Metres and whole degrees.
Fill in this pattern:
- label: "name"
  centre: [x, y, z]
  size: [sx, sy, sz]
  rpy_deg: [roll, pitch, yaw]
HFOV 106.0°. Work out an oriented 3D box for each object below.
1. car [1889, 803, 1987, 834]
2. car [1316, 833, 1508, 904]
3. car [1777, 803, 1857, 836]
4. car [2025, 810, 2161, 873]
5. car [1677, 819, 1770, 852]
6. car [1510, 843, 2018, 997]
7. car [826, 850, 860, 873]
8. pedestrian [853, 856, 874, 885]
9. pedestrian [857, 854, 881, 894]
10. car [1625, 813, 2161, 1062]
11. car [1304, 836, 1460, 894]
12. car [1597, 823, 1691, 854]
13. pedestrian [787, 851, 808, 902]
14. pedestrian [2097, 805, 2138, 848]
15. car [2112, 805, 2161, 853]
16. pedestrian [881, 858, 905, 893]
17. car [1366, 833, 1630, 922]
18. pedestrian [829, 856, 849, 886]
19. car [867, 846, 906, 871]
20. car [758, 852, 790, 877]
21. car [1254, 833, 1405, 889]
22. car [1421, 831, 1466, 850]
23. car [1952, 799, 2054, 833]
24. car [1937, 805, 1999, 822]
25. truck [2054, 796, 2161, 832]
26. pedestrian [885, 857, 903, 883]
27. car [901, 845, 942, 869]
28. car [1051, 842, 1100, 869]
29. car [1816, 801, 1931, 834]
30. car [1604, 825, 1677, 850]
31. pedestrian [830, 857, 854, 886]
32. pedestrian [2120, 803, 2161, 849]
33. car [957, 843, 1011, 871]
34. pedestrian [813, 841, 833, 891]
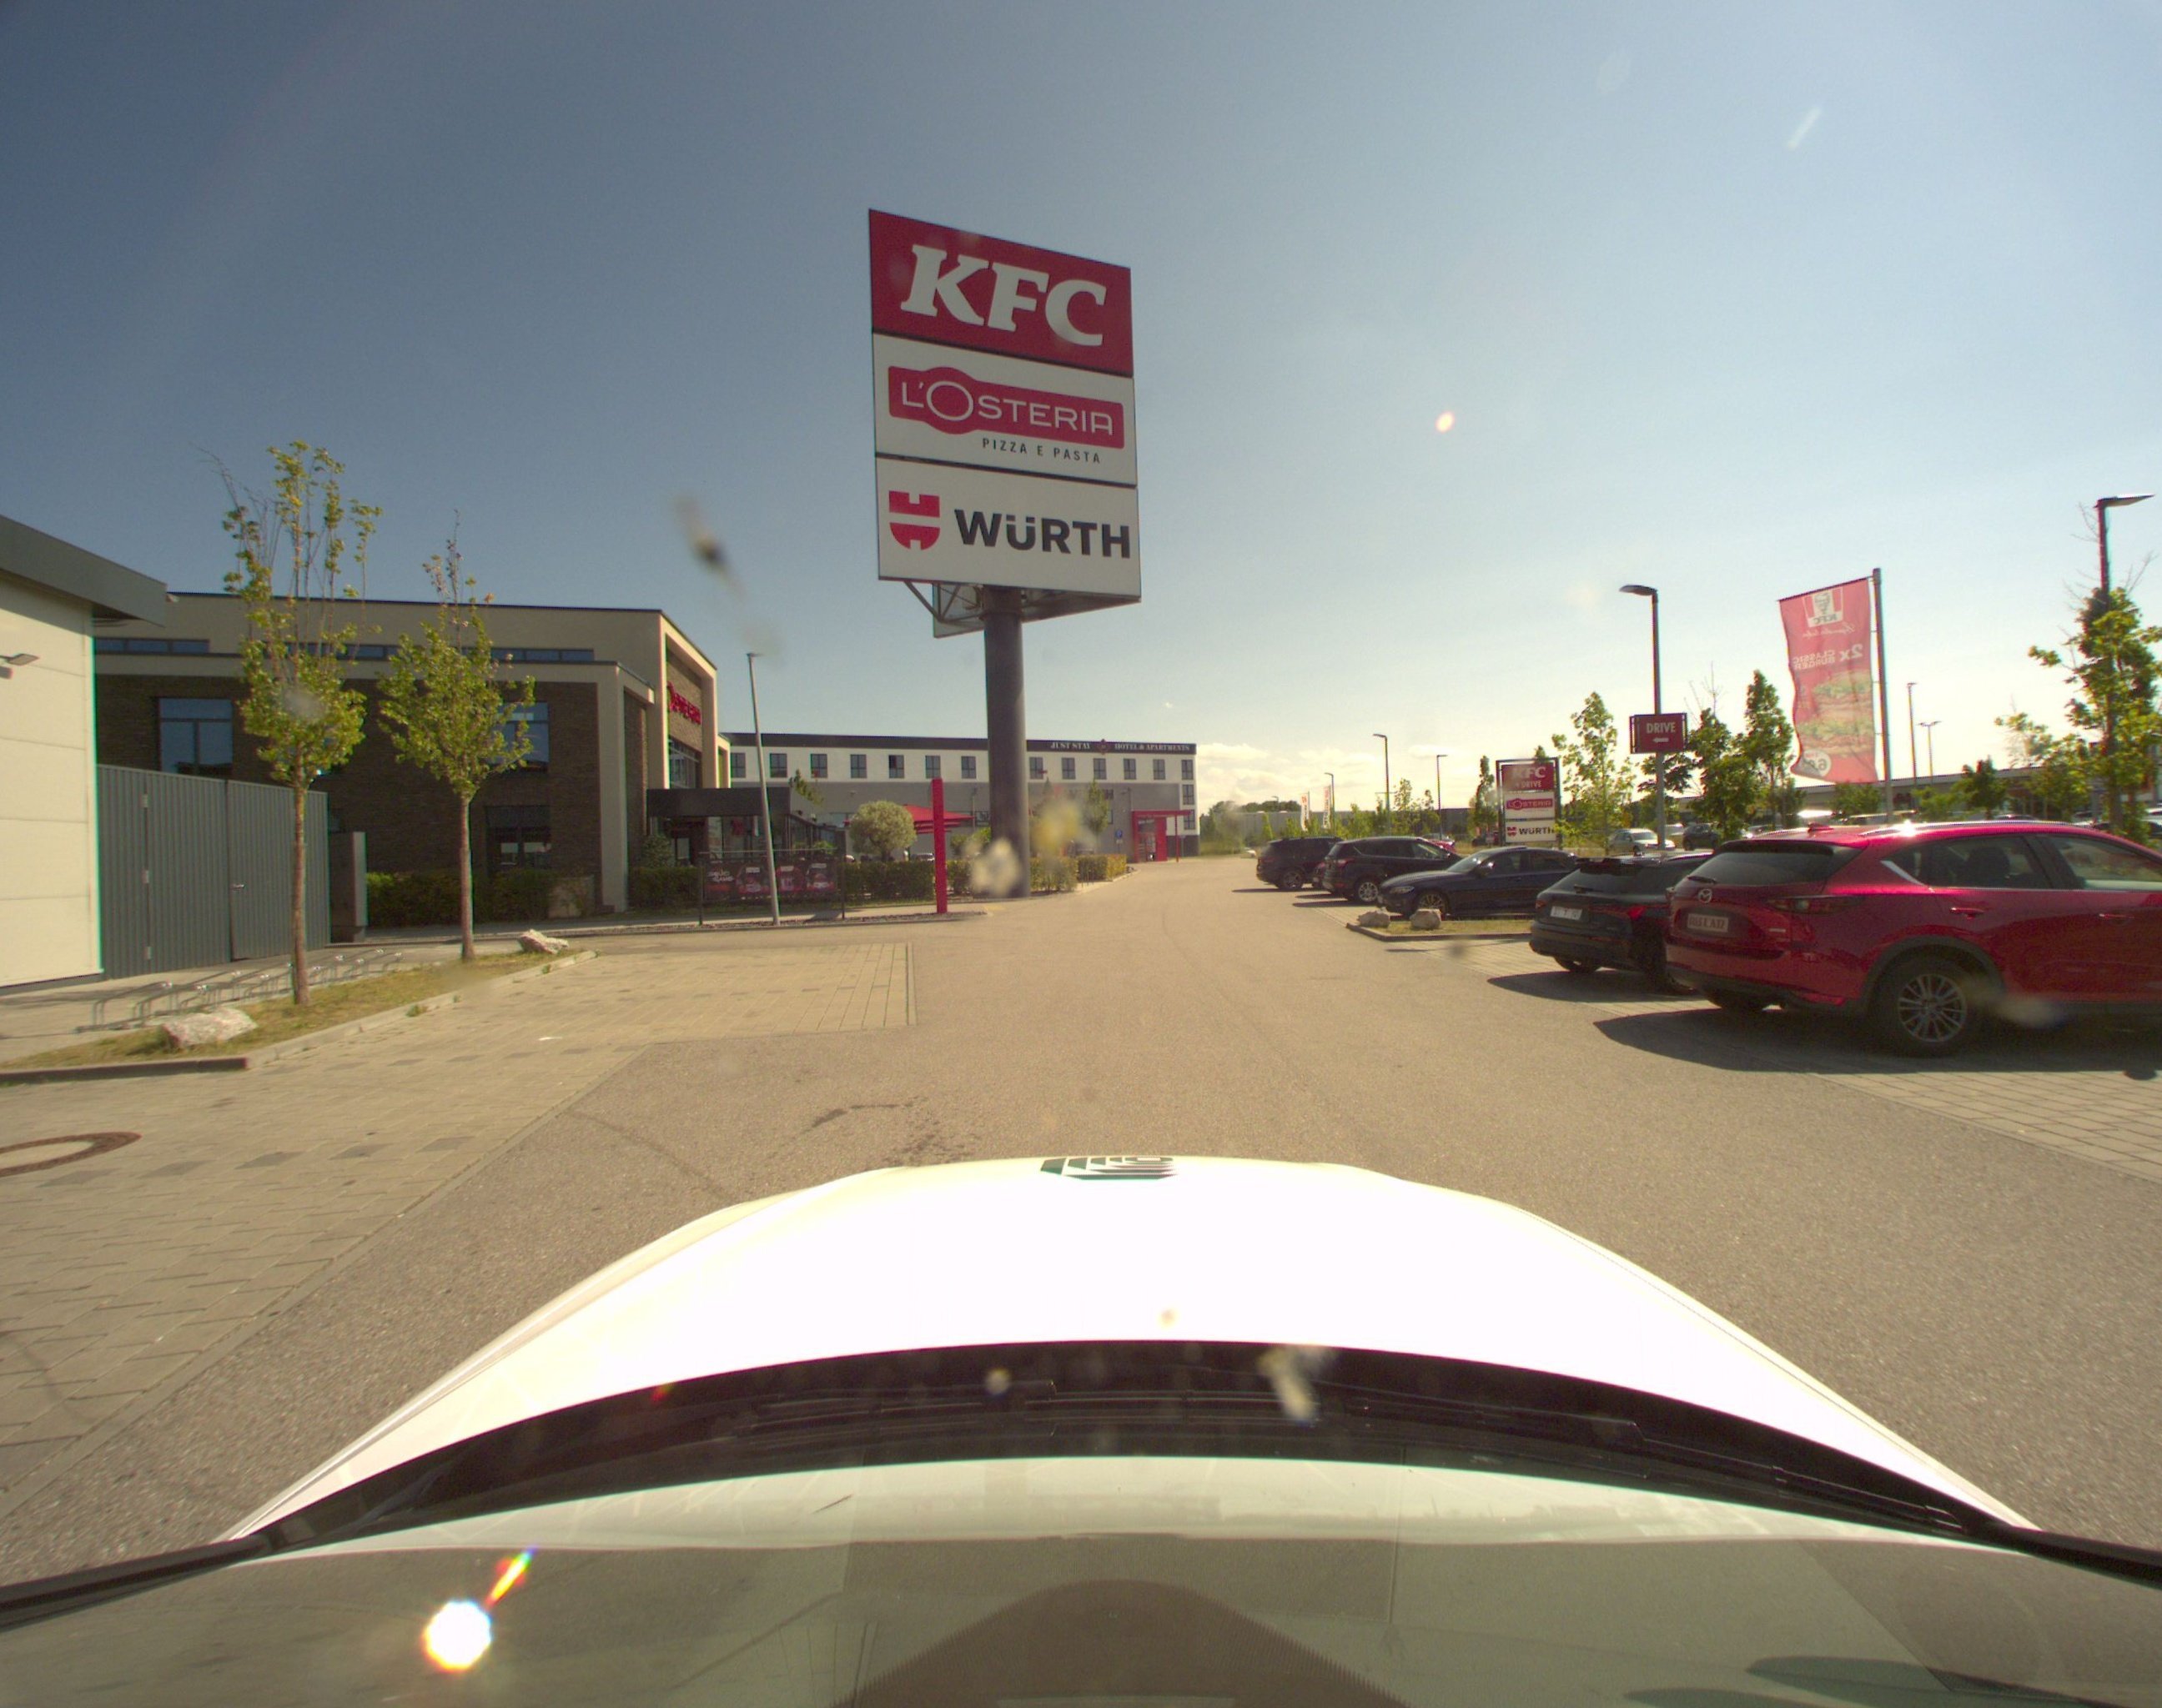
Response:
- label: "car"
  centre: [61.055, -2.518, 58.070]
  size: [5.151, 2.013, 1.998]
  rpy_deg: [-2, 1, -3]
- label: "car"
  centre: [8.497, 0.363, 21.277]
  size: [4.295, 1.702, 1.899]
  rpy_deg: [-1, 0, 7]
- label: "car"
  centre: [61.477, -2.868, 68.053]
  size: [5.049, 2.455, 1.998]
  rpy_deg: [-2, 1, -3]
- label: "car"
  centre: [27.298, -0.345, 20.382]
  size: [1.987, 1.526, 4.657]
  rpy_deg: [-2, 1, 0]
- label: "car"
  centre: [34.948, -1.012, 44.470]
  size: [1.862, 1.664, 4.614]
  rpy_deg: [-2, 1, 8]
- label: "car"
  centre: [7.237, 0.633, 8.917]
  size: [4.183, 1.410, 1.772]
  rpy_deg: [-1, 0, -3]
- label: "car"
  centre: [-16.505, 0.485, 56.324]
  size: [1.739, 1.487, 3.920]
  rpy_deg: [-2, 1, -24]
- label: "pedestrian"
  centre: [-9.326, 0.701, 34.953]
  size: [0.706, 1.198, 0.615]
  rpy_deg: [-2, 1, -5]
- label: "pedestrian"
  centre: [-7.420, 0.688, 28.504]
  size: [0.653, 1.366, 0.476]
  rpy_deg: [-2, 1, -38]
- label: "car"
  centre: [7.103, 0.539, 6.521]
  size: [4.204, 1.638, 1.950]
  rpy_deg: [-1, 0, -1]
- label: "car"
  centre: [8.975, 0.294, 24.542]
  size: [4.051, 1.608, 1.897]
  rpy_deg: [-1, 1, 3]
- label: "car"
  centre: [30.986, -0.839, 45.003]
  size: [1.986, 1.526, 4.658]
  rpy_deg: [-2, 1, 1]
- label: "pedestrian"
  centre: [-8.716, 0.682, 25.060]
  size: [0.525, 1.505, 0.566]
  rpy_deg: [-2, 1, -15]
- label: "pedestrian"
  centre: [37.935, -0.995, 29.813]
  size: [0.619, 1.556, 0.669]
  rpy_deg: [-2, 1, 13]
- label: "car"
  centre: [44.662, -1.061, 32.222]
  size: [4.354, 1.845, 2.011]
  rpy_deg: [-2, 1, 22]
- label: "pedestrian"
  centre: [-6.637, 0.748, 28.720]
  size: [0.653, 1.185, 0.476]
  rpy_deg: [-2, 1, -38]
- label: "car"
  centre: [8.323, 0.451, 16.633]
  size: [4.413, 1.638, 1.899]
  rpy_deg: [-1, 0, 6]
- label: "pedestrian"
  centre: [-10.034, 0.712, 33.792]
  size: [0.710, 1.198, 0.663]
  rpy_deg: [-2, 1, -20]
- label: "car"
  centre: [-13.712, 0.303, 57.306]
  size: [1.888, 1.585, 4.076]
  rpy_deg: [-2, 1, -24]
- label: "car"
  centre: [-20.463, 0.656, 54.277]
  size: [1.739, 1.567, 3.920]
  rpy_deg: [-2, 1, -24]
- label: "car"
  centre: [8.267, 0.229, 27.450]
  size: [4.554, 1.760, 1.898]
  rpy_deg: [-1, 0, 4]
- label: "car"
  centre: [35.946, -1.346, 80.866]
  size: [1.991, 1.732, 4.748]
  rpy_deg: [-2, 1, -7]
- label: "car"
  centre: [60.184, -2.430, 53.239]
  size: [4.051, 2.013, 2.006]
  rpy_deg: [-2, 1, 10]
- label: "car"
  centre: [78.599, -3.574, 72.228]
  size: [1.428, 1.400, 3.471]
  rpy_deg: [-2, 1, -11]
- label: "truck"
  centre: [58.843, -2.255, 45.780]
  size: [5.386, 1.863, 2.004]
  rpy_deg: [-2, 1, 7]
- label: "pedestrian"
  centre: [-8.382, 0.714, 36.515]
  size: [0.574, 1.089, 0.545]
  rpy_deg: [-2, 1, 3]
- label: "car"
  centre: [-11.520, 0.195, 58.532]
  size: [1.956, 1.585, 4.342]
  rpy_deg: [-2, 1, -24]
- label: "car"
  centre: [-0.486, 0.073, 61.752]
  size: [2.079, 1.880, 4.844]
  rpy_deg: [-2, 1, -21]
- label: "car"
  centre: [61.782, -2.818, 63.597]
  size: [6.270, 2.237, 2.817]
  rpy_deg: [-2, 1, 0]
- label: "car"
  centre: [36.841, -1.106, 53.748]
  size: [1.983, 1.504, 4.666]
  rpy_deg: [-2, 1, 6]
- label: "pedestrian"
  centre: [-10.205, 0.725, 34.807]
  size: [0.702, 1.198, 0.619]
  rpy_deg: [-2, 1, 18]
- label: "pedestrian"
  centre: [37.726, -0.993, 28.918]
  size: [0.685, 1.599, 0.759]
  rpy_deg: [-2, 1, 13]
- label: "car"
  centre: [-5.793, 0.182, 48.300]
  size: [1.956, 1.530, 4.342]
  rpy_deg: [-2, 1, -24]
- label: "pedestrian"
  centre: [-7.953, 0.366, 25.122]
  size: [0.525, 1.505, 0.566]
  rpy_deg: [-2, 1, -15]
